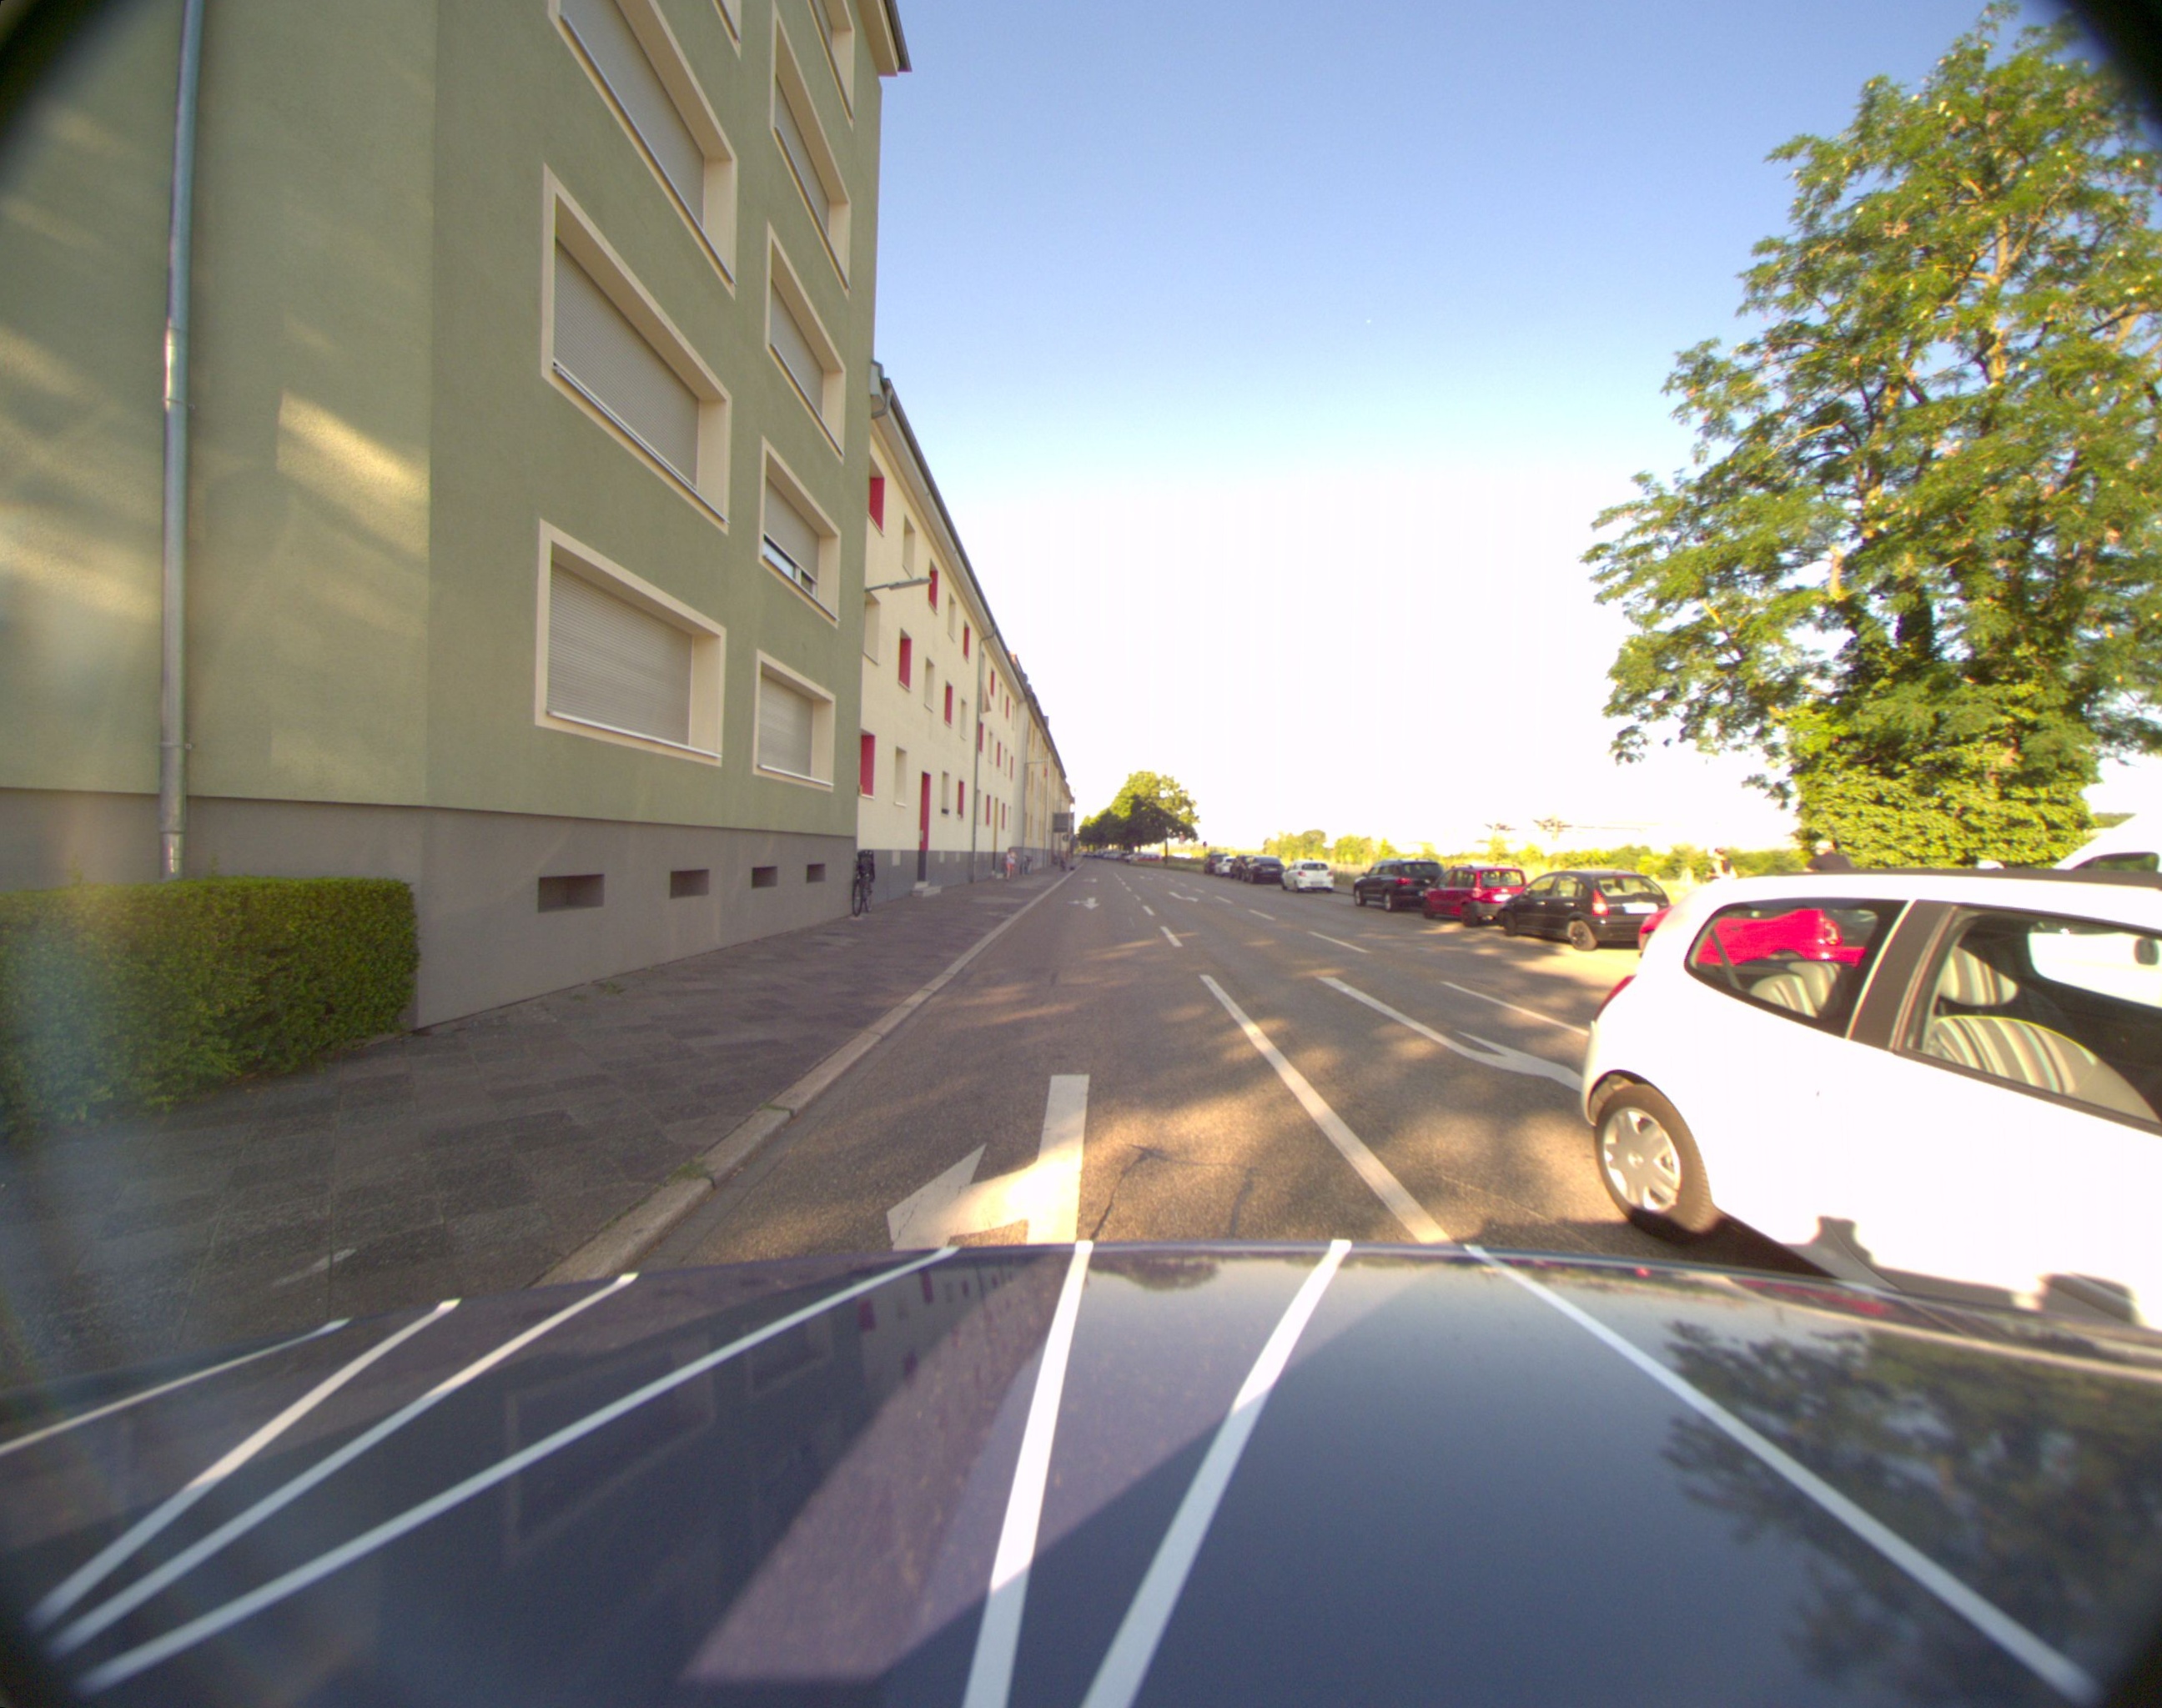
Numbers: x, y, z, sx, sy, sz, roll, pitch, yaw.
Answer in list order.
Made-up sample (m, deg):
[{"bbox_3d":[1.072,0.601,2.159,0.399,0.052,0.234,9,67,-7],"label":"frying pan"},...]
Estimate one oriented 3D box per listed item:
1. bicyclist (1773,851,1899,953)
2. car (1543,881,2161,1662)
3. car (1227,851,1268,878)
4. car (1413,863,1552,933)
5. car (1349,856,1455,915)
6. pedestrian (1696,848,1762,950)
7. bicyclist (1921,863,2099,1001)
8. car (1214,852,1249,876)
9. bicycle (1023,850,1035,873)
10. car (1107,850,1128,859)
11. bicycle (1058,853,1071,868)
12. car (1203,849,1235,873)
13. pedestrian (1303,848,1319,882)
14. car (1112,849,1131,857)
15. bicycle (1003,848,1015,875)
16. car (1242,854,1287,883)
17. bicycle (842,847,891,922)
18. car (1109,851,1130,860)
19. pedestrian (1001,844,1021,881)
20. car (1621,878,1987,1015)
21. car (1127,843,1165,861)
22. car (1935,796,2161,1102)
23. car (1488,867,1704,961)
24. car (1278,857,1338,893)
[{"bbox_3d":[12.462,0.763,12.588,0.866,1.587,1.145,2,1,-4],"label":"bicyclist"},{"bbox_3d":[3.011,0.892,1.608,1.705,1.460,3.775,2,1,-1],"label":"car"},{"bbox_3d":[10.849,0.679,49.702,1.823,1.628,4.220,2,1,2],"label":"car"},{"bbox_3d":[10.262,1.060,19.727,1.664,1.521,3.579,2,1,0],"label":"car"},{"bbox_3d":[10.141,0.946,24.347,1.664,1.649,4.005,2,1,0],"label":"car"},{"bbox_3d":[13.063,0.890,15.333,0.615,2.002,0.730,2,1,-1],"label":"pedestrian"},{"bbox_3d":[11.639,0.931,9.571,0.768,1.587,1.146,2,1,0],"label":"bicyclist"},{"bbox_3d":[10.856,0.704,55.095,1.823,1.565,4.220,2,0,2],"label":"car"},{"bbox_3d":[-3.162,0.431,46.306,0.517,1.318,2.210,2,1,2],"label":"bicycle"},{"bbox_3d":[7.427,0.193,155.315,3.997,1.708,2.000,2,1,-1],"label":"car"},{"bbox_3d":[-1.246,0.489,56.841,0.651,1.091,2.201,1,1,-8],"label":"bicycle"},{"bbox_3d":[11.005,0.521,60.979,1.890,1.765,4.220,2,1,2],"label":"car"},{"bbox_3d":[13.831,0.659,45.621,0.706,2.002,0.710,2,1,2],"label":"pedestrian"},{"bbox_3d":[9.204,-0.223,173.164,3.997,1.708,2.000,2,1,-1],"label":"car"},{"bbox_3d":[-3.932,0.380,41.374,0.517,1.404,1.873,2,1,-3],"label":"bicycle"},{"bbox_3d":[10.572,0.809,44.002,1.823,1.517,4.291,2,0,5],"label":"car"},{"bbox_3d":[-4.310,0.573,15.370,0.517,1.404,1.873,2,1,-3],"label":"bicycle"},{"bbox_3d":[7.495,0.252,149.732,3.997,1.708,2.000,2,1,-1],"label":"car"},{"bbox_3d":[-3.303,0.384,35.995,0.787,1.697,0.950,3,1,1],"label":"pedestrian"},{"bbox_3d":[10.066,1.175,11.041,1.745,1.478,3.694,2,1,0],"label":"car"},{"bbox_3d":[9.526,-0.300,112.241,5.322,2.398,2.266,-2,1,0],"label":"car"},{"bbox_3d":[9.686,0.744,4.818,2.235,2.422,5.559,-1,1,-1],"label":"car"},{"bbox_3d":[10.169,1.102,15.410,1.745,1.521,3.816,2,1,0],"label":"car"},{"bbox_3d":[10.411,0.917,35.068,1.706,1.517,3.583,2,1,1],"label":"car"}]
